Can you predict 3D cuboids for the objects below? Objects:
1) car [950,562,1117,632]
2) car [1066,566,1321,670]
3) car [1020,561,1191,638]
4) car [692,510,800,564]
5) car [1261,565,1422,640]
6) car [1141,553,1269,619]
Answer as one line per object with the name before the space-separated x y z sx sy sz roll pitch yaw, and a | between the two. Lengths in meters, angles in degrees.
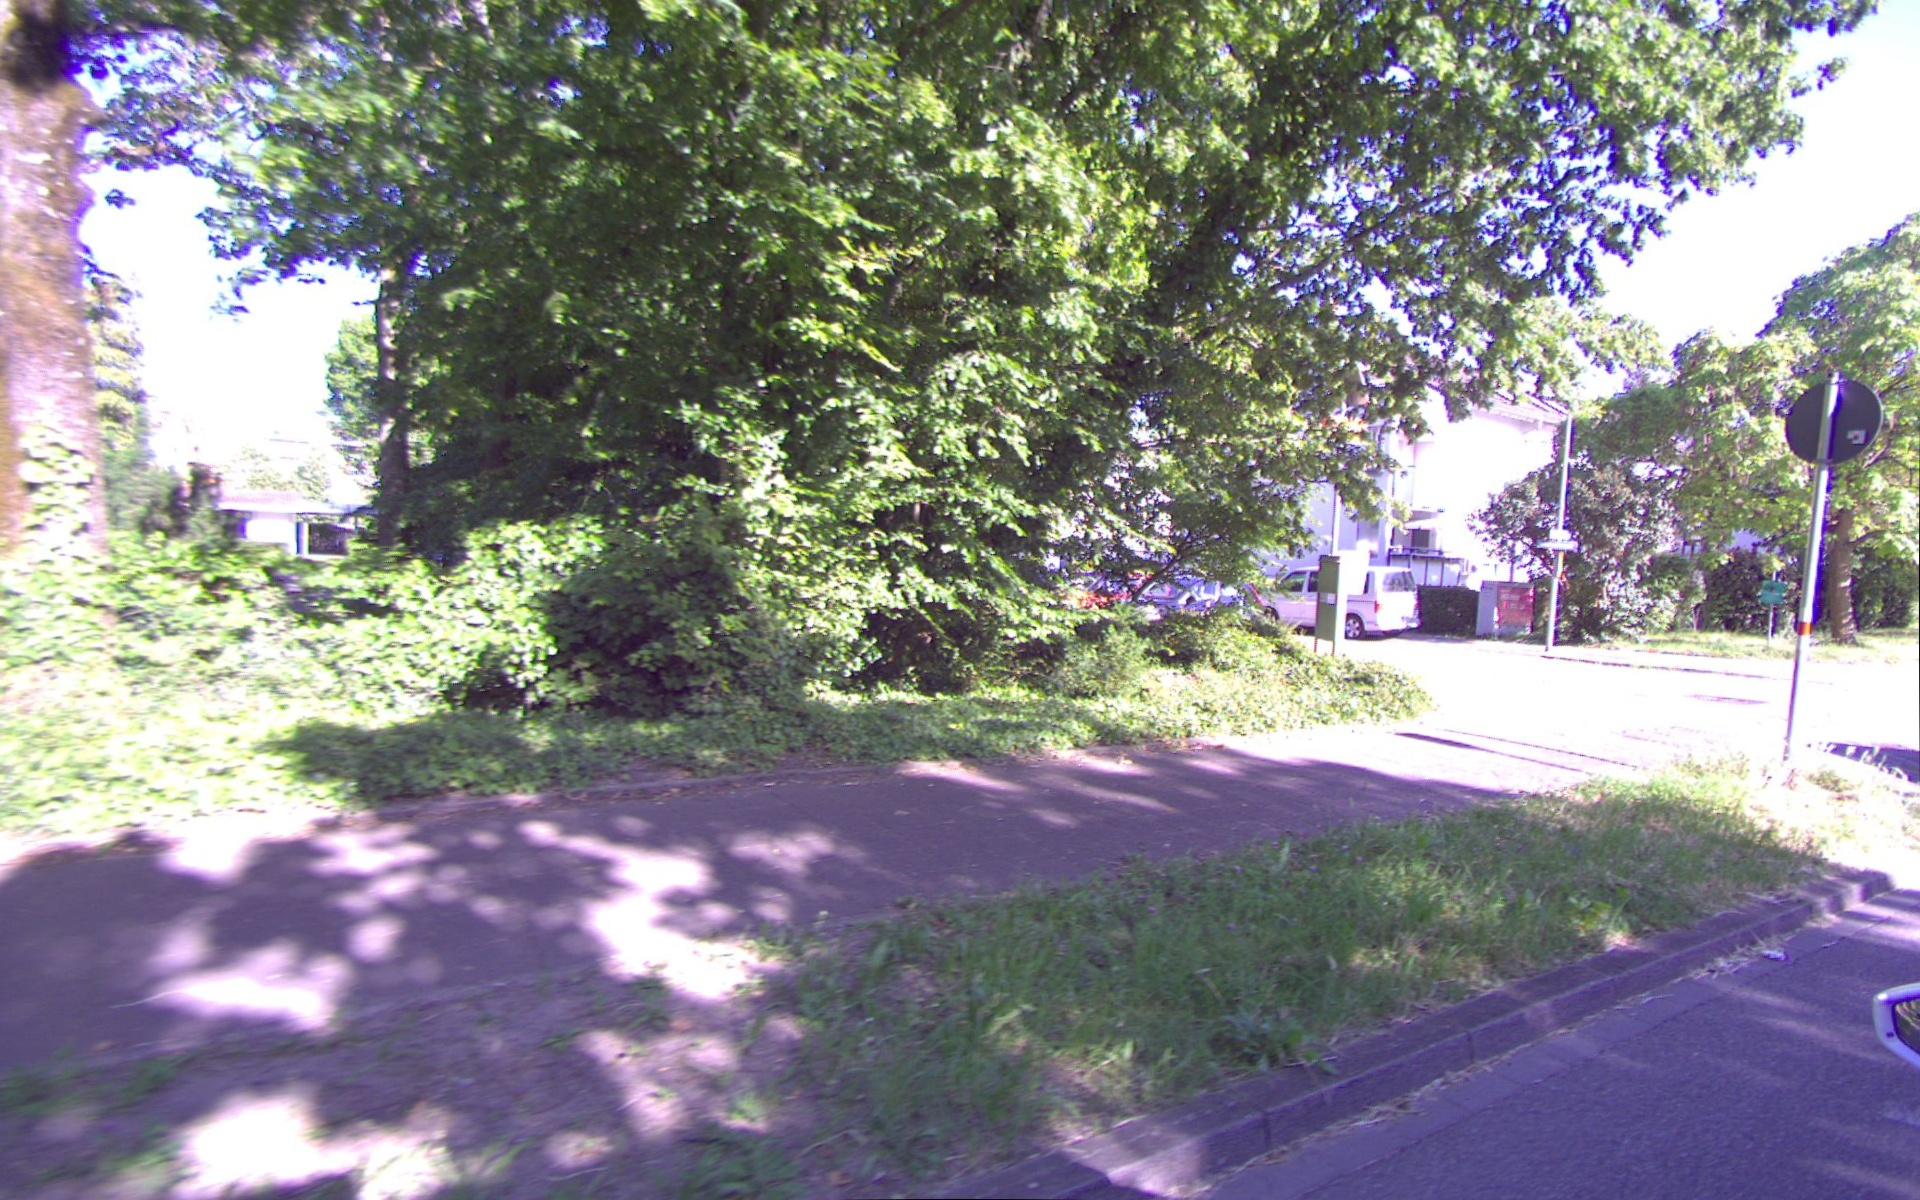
car | 1.918 -0.063 25.801 4.077 1.655 1.663 1 1 -33
car | 3.669 0.215 16.485 1.659 1.413 4.086 1 2 -31
car | 3.457 0.004 23.702 3.817 1.674 1.663 1 1 -33
car | -8.912 -2.569 41.924 4.077 1.990 1.663 1 1 -33
car | 10.759 0.030 28.613 1.659 1.990 4.086 1 1 -31
car | 7.968 -0.424 32.578 4.077 1.990 1.663 1 1 -33
